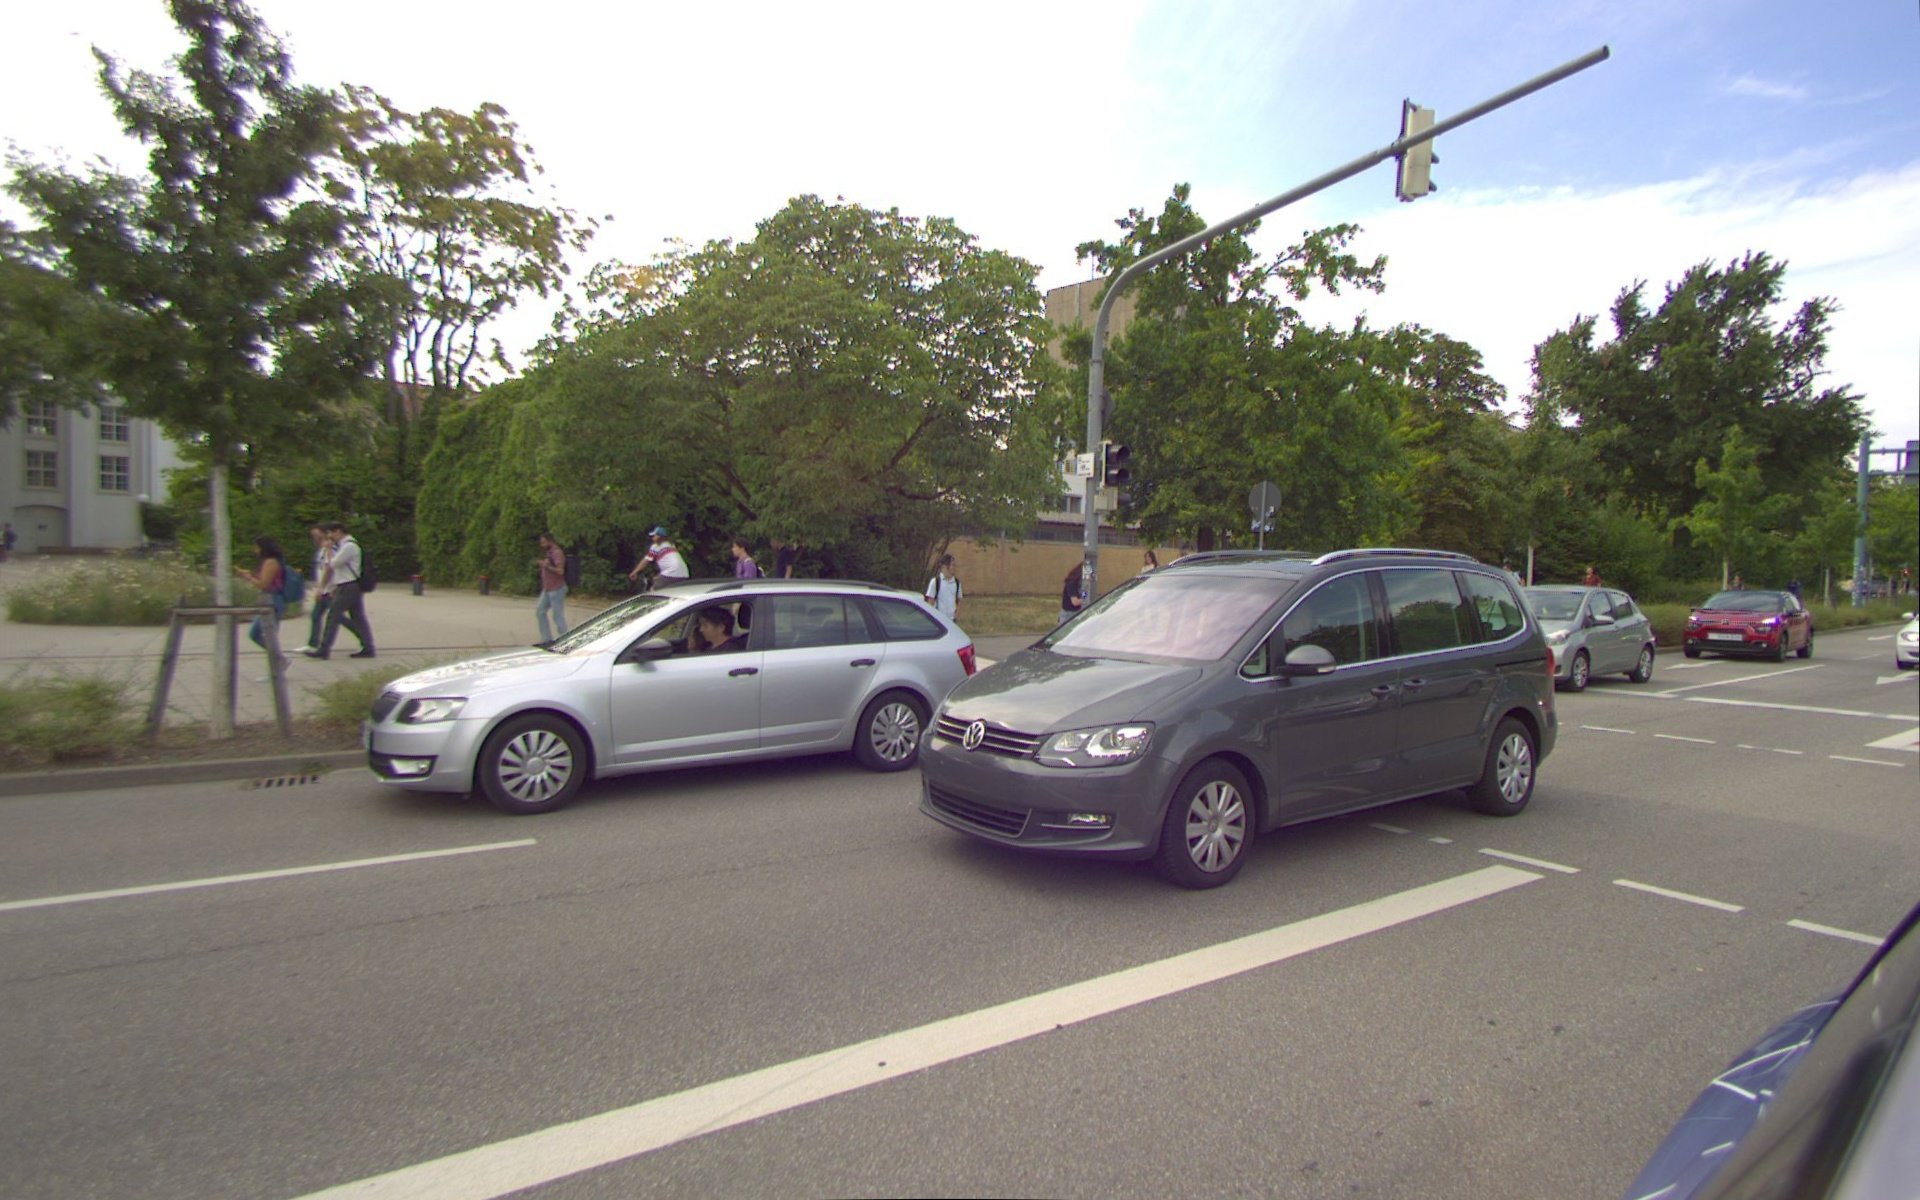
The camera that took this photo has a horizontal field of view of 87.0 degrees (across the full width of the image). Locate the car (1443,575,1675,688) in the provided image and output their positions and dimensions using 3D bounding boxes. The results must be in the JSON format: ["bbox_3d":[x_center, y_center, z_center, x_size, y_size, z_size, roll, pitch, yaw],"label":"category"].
[{"bbox_3d":[9.123,0.387,15.335,3.803,1.508,1.671,-1,1,-36],"label":"car"}]

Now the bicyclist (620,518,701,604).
[{"bbox_3d":[-4.709,-0.595,15.910,1.009,1.293,0.827,0,1,43],"label":"bicyclist"}]

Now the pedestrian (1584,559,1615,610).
[{"bbox_3d":[22.147,-0.540,35.050,0.682,1.732,0.714,-1,1,-39],"label":"pedestrian"}]

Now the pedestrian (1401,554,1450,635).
[{"bbox_3d":[10.169,-0.129,22.130,0.680,1.732,0.734,-1,1,-36],"label":"pedestrian"}]

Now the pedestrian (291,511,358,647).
[{"bbox_3d":[-8.387,-0.277,13.353,0.695,1.732,0.640,-1,1,-36],"label":"pedestrian"}]

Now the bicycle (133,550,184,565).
[{"bbox_3d":[-38.198,-2.029,48.240,1.808,0.702,0.652,-1,1,-31],"label":"bicycle"}]

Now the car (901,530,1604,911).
[{"bbox_3d":[2.051,0.485,6.451,4.596,1.671,1.761,-1,1,-34],"label":"car"}]

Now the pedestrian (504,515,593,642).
[{"bbox_3d":[-5.860,-0.300,14.419,0.994,1.732,0.839,-1,1,-36],"label":"pedestrian"}]

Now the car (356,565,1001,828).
[{"bbox_3d":[-1.986,0.504,7.789,4.443,1.492,1.825,-1,1,-36],"label":"car"}]

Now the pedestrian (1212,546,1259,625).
[{"bbox_3d":[6.155,-0.321,22.589,0.786,1.732,0.713,-1,1,-43],"label":"pedestrian"}]

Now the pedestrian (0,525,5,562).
[{"bbox_3d":[-45.545,-2.672,47.669,0.627,1.732,0.709,0,2,-31],"label":"pedestrian"}]

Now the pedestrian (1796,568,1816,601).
[{"bbox_3d":[44.982,-0.808,53.785,0.682,1.732,0.714,-1,1,-39],"label":"pedestrian"}]

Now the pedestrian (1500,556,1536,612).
[{"bbox_3d":[17.672,-0.499,32.047,0.683,1.732,0.840,-1,1,-43],"label":"pedestrian"}]

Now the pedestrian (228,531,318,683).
[{"bbox_3d":[-7.550,0.046,11.117,0.785,1.561,0.840,-1,5,-36],"label":"pedestrian"}]

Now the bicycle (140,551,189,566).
[{"bbox_3d":[-38.989,-2.049,49.615,1.808,0.702,0.652,-1,1,-31],"label":"bicycle"}]

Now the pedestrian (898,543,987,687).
[{"bbox_3d":[-0.226,0.167,12.753,0.823,1.732,0.800,-1,1,-34],"label":"pedestrian"}]

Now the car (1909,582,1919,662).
[{"bbox_3d":[19.828,0.380,19.517,4.149,1.476,1.758,-1,1,-40],"label":"car"}]

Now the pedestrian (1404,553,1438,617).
[{"bbox_3d":[12.647,-0.413,27.752,0.683,1.716,0.543,-1,4,-43],"label":"pedestrian"}]

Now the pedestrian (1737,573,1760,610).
[{"bbox_3d":[37.087,-0.415,47.596,0.682,1.732,0.714,-1,1,-39],"label":"pedestrian"}]

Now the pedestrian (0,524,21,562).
[{"bbox_3d":[-44.528,-2.674,47.408,0.627,1.732,0.709,0,2,-31],"label":"pedestrian"}]

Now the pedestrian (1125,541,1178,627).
[{"bbox_3d":[3.965,-0.334,20.953,0.834,1.732,0.790,0,1,36],"label":"pedestrian"}]

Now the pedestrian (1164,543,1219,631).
[{"bbox_3d":[4.663,-0.269,20.388,0.834,1.732,0.790,0,1,36],"label":"pedestrian"}]

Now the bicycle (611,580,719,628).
[{"bbox_3d":[-4.650,0.045,15.876,1.839,0.702,0.830,1,1,44],"label":"bicycle"}]

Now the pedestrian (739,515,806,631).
[{"bbox_3d":[-3.073,-0.430,16.551,0.785,1.831,0.839,-1,1,-36],"label":"pedestrian"}]

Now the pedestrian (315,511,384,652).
[{"bbox_3d":[-7.810,-0.237,12.944,0.695,1.732,0.640,-1,1,-36],"label":"pedestrian"}]

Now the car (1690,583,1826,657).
[{"bbox_3d":[17.252,0.371,21.841,3.396,1.433,1.669,-1,1,-40],"label":"car"}]

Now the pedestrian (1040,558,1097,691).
[{"bbox_3d":[1.453,0.309,13.546,0.576,1.732,0.481,-1,0,-34],"label":"pedestrian"}]

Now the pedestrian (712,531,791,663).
[{"bbox_3d":[-2.867,-0.047,13.909,0.785,1.732,0.839,-1,1,-36],"label":"pedestrian"}]
